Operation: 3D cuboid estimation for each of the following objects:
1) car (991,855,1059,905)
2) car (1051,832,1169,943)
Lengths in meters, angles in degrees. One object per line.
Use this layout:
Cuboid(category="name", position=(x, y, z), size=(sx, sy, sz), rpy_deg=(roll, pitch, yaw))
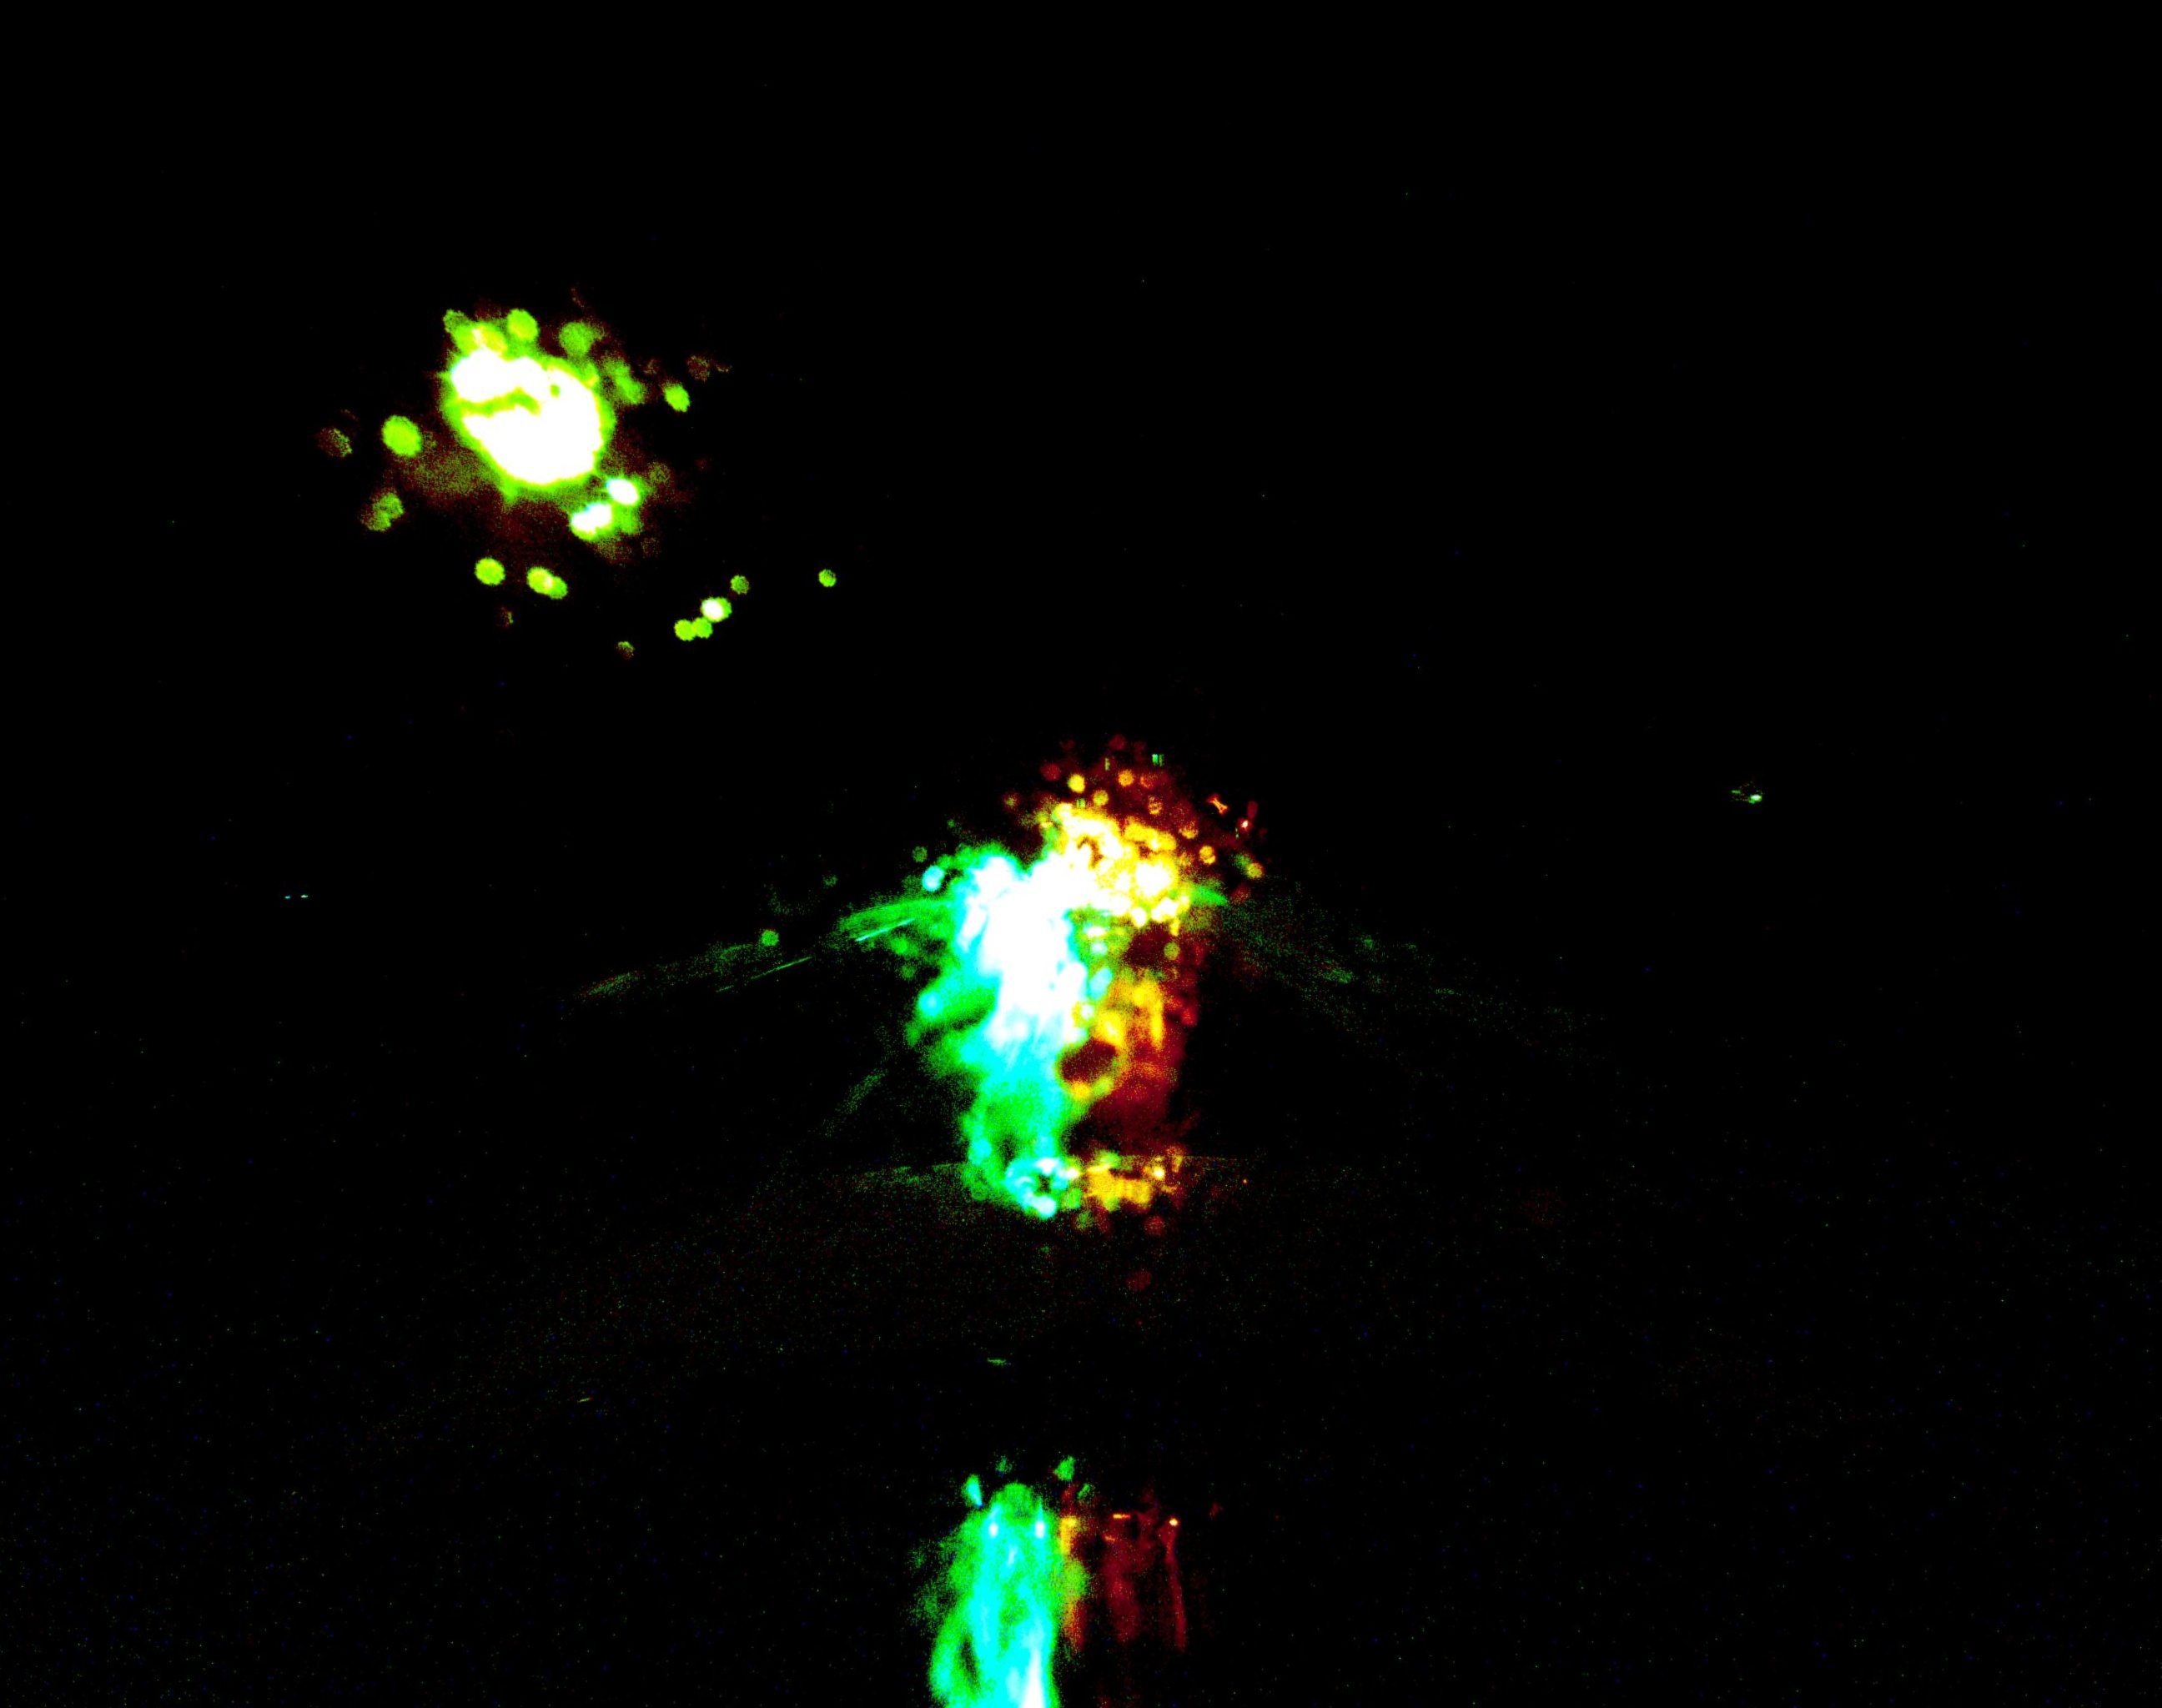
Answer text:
Cuboid(category="car", position=(-1.995, 0.907, 30.184), size=(1.866, 1.545, 4.358), rpy_deg=(-6, -1, 3))
Cuboid(category="car", position=(0.578, 0.498, 14.669), size=(1.783, 1.681, 3.908), rpy_deg=(-2, 1, 3))
